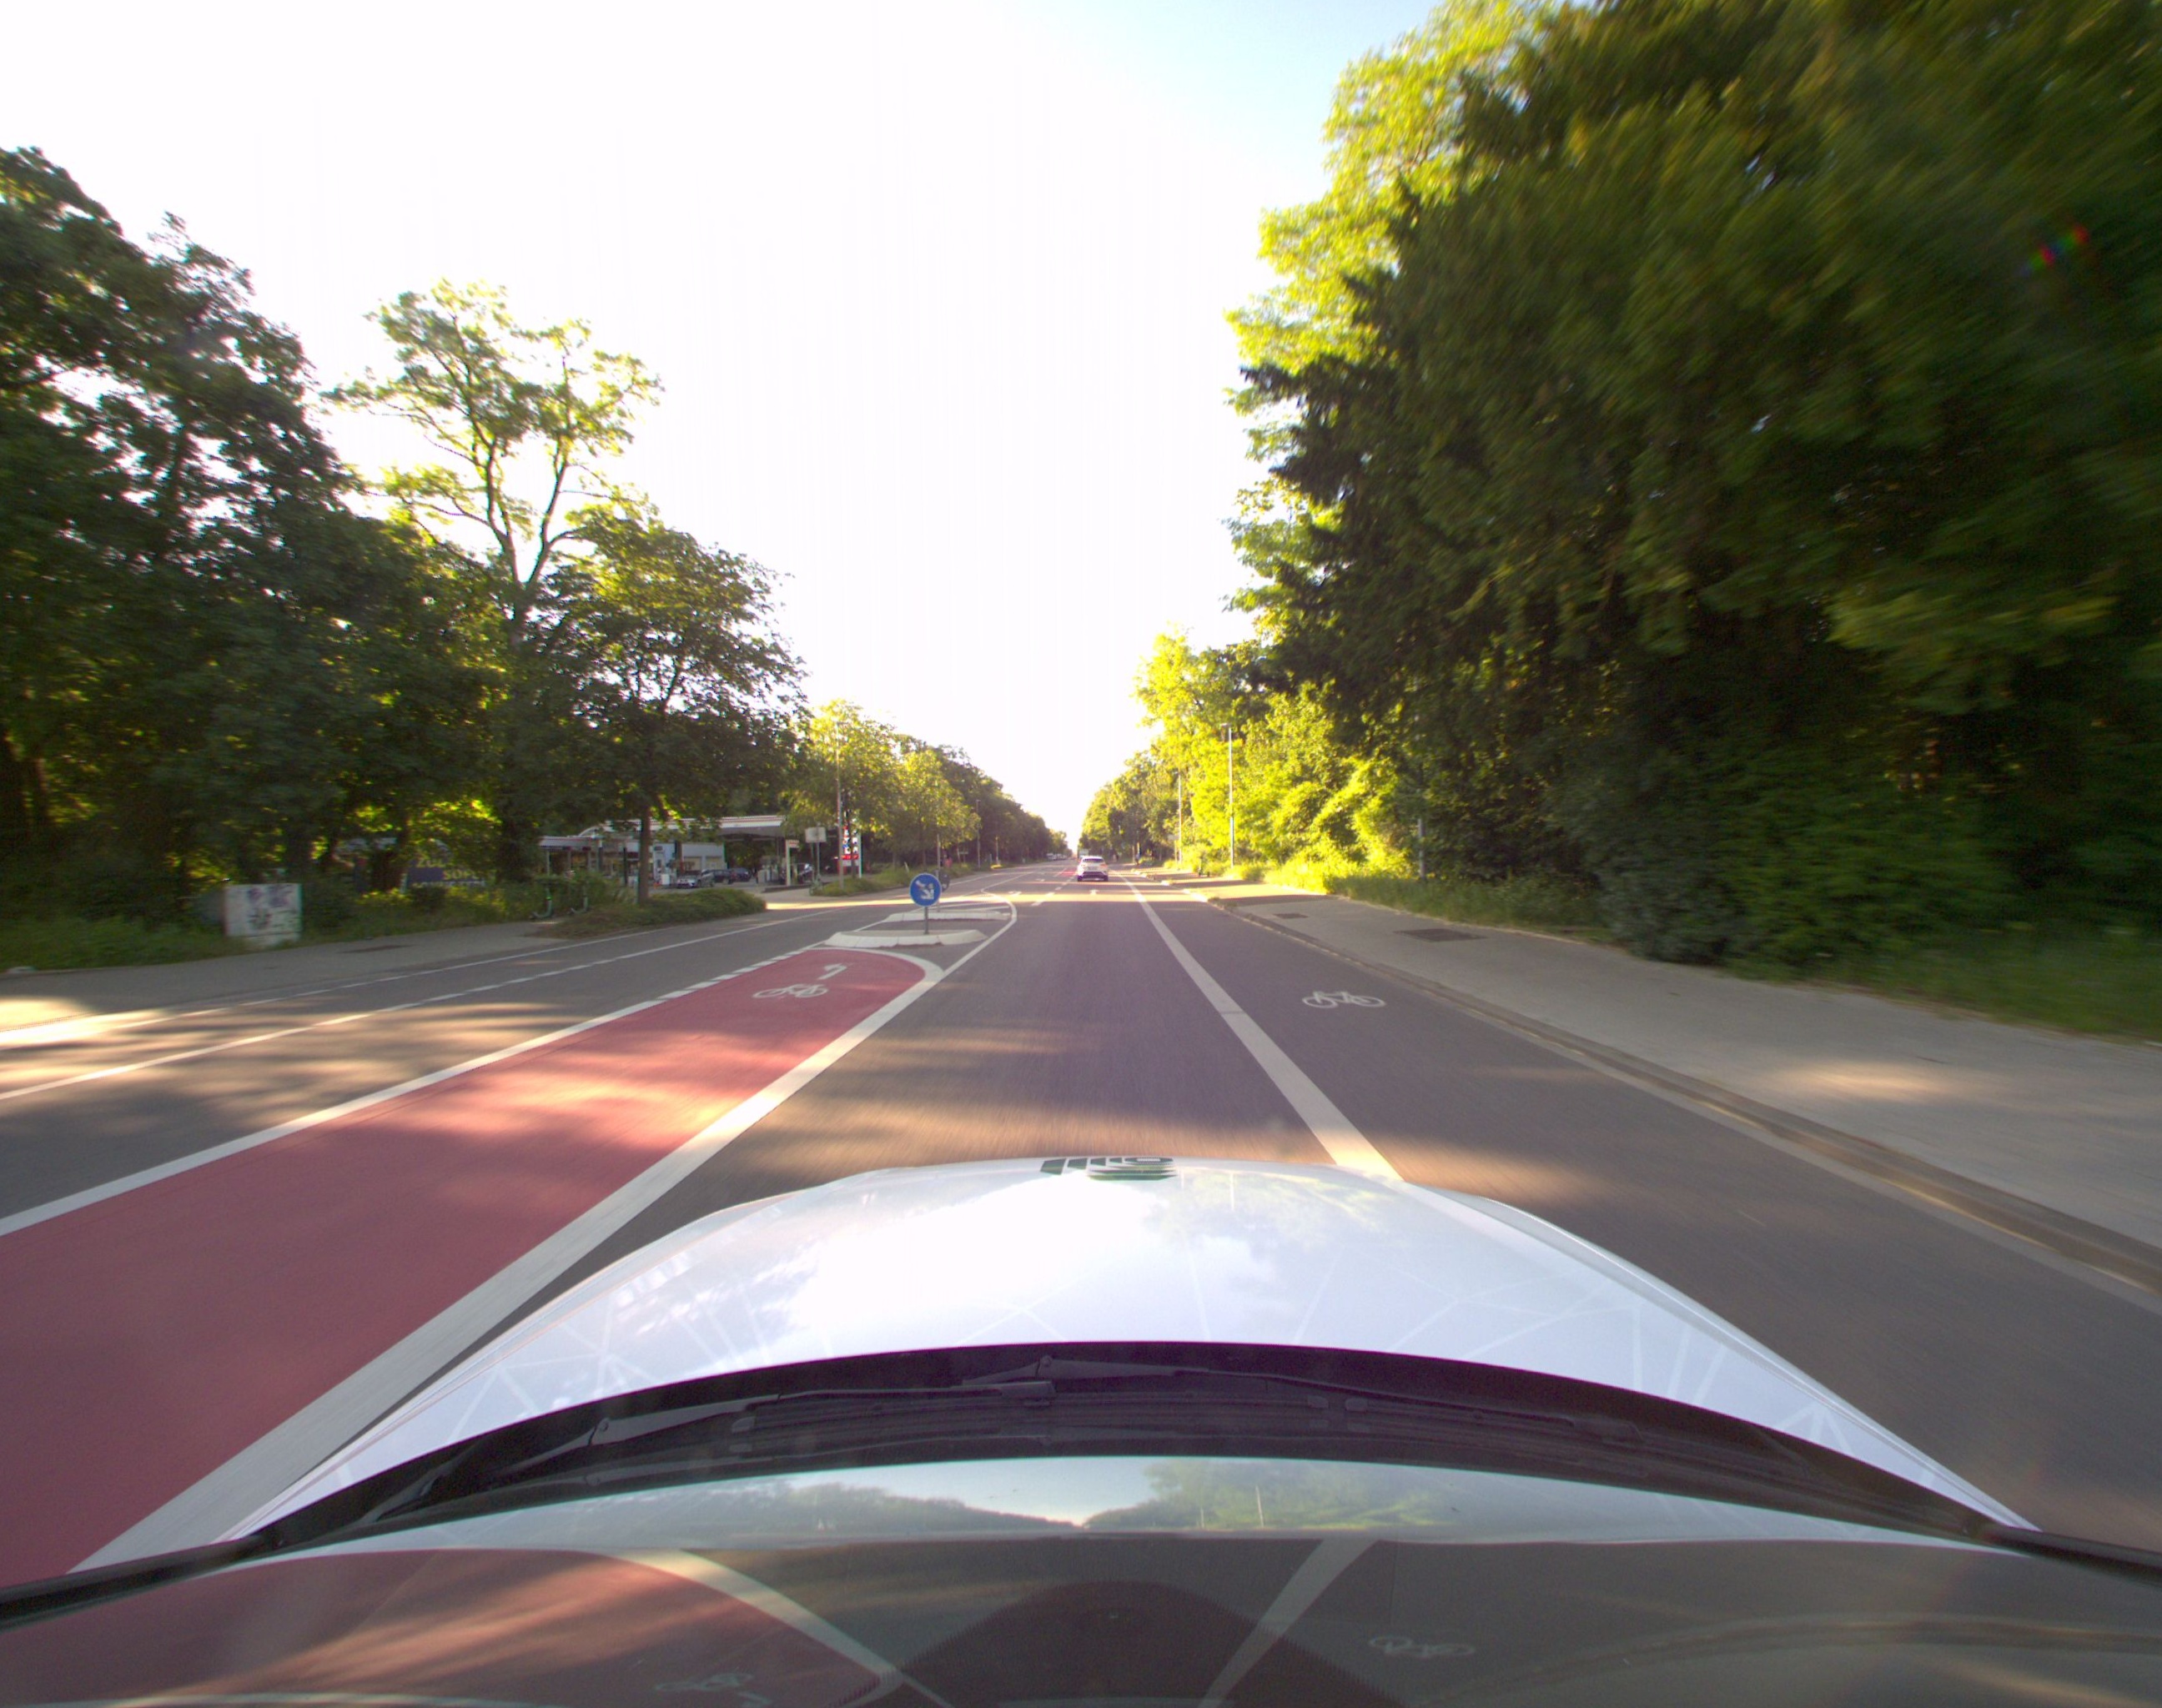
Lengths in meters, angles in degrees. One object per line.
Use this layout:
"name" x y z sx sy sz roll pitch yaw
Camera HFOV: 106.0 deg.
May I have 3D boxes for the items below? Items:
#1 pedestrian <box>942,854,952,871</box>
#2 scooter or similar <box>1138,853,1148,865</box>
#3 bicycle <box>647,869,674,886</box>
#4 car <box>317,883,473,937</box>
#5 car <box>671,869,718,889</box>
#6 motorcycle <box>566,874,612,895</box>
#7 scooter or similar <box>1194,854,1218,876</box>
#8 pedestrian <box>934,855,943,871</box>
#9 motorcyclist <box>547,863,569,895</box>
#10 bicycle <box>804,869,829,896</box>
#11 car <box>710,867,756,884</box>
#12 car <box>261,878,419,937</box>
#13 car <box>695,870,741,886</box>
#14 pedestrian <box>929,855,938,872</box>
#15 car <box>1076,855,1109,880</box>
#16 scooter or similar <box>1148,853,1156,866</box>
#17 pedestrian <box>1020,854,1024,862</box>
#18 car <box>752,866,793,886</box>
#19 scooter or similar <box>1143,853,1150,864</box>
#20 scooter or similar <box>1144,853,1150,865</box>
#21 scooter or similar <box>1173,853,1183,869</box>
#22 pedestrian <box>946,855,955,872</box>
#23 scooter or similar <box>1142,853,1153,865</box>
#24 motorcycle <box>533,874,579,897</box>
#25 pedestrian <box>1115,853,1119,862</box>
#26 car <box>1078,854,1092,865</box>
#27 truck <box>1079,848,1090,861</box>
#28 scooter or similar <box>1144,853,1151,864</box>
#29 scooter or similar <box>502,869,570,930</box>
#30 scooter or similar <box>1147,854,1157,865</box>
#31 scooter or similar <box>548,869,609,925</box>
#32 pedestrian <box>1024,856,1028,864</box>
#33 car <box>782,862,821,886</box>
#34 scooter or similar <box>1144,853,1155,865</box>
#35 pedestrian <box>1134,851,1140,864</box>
"pedestrian" -16.552 1.050 100.647 0.710 2.013 0.880 -2 0 31
"scooter or similar" 7.592 0.590 99.844 0.683 1.423 1.673 -2 0 -15
"bicycle" -37.803 2.111 73.194 1.830 1.477 0.928 -2 0 1
"car" -22.181 1.781 26.440 1.542 1.400 3.513 -5 -1 32
"car" -30.414 1.975 64.166 1.705 1.376 4.058 -2 0 -1
"motorcycle" -36.952 2.267 61.235 1.120 1.451 2.762 -2 0 27
"scooter or similar" 7.448 0.630 48.523 1.550 1.250 0.528 -2 0 -43
"pedestrian" -18.158 1.185 103.689 0.710 2.013 0.802 -3 0 33
"motorcyclist" -36.903 1.755 57.492 1.110 2.182 1.022 -2 0 44
"bicycle" -13.152 1.382 40.570 0.653 1.250 2.156 -2 0 -5
"car" -36.397 2.228 85.309 3.980 1.555 1.896 -2 0 -5
"car" -24.358 1.715 26.892 1.542 1.651 3.513 -2 0 32
"car" -34.177 2.226 76.773 3.627 1.353 1.708 -2 0 -15
"pedestrian" -18.654 1.190 103.013 0.710 2.013 0.802 -2 0 33
"car" 0.657 0.785 48.981 1.757 1.459 3.813 0 0 -3
"scooter or similar" 8.009 0.567 92.143 0.680 1.423 1.681 -2 0 0
"pedestrian" -14.604 0.961 202.944 0.861 2.013 1.269 -2 0 -1
"car" -26.291 1.847 69.500 1.705 1.498 4.576 -2 0 0
"scooter or similar" 8.410 0.604 104.211 0.680 1.423 1.681 -2 0 0
"scooter or similar" 8.355 0.596 102.671 0.678 1.423 1.248 -2 0 8
"scooter or similar" 7.909 0.584 66.377 0.531 1.250 1.541 -2 0 0
"pedestrian" -16.122 1.167 100.678 0.710 2.013 0.752 -3 0 31
"scooter or similar" 7.988 0.572 98.166 0.683 1.423 1.673 -2 0 -15
"motorcycle" -36.968 2.201 57.398 1.120 1.451 2.521 -2 0 44
"pedestrian" 7.040 0.671 161.082 0.696 1.653 0.876 -2 0 -1
"car" 0.551 0.862 120.595 1.987 1.519 4.000 -2 0 1
"truck" 0.998 0.211 233.978 2.791 3.570 8.030 -1 0 -1
"scooter or similar" 8.242 0.561 101.158 0.680 1.423 1.681 -2 0 0
"scooter or similar" -16.566 1.361 24.808 0.824 1.717 1.741 -2 0 1
"scooter or similar" 8.197 0.622 93.998 0.467 1.306 1.470 -2 0 -22
"scooter or similar" -16.486 1.371 26.751 0.824 1.717 1.741 -2 0 1
"pedestrian" -13.656 1.485 202.987 0.829 2.013 1.268 -2 0 -2
"car" -22.210 1.561 64.886 1.707 1.691 4.447 -2 0 -4
"scooter or similar" 8.096 0.564 96.095 0.683 1.423 1.674 -2 0 -13
"pedestrian" 7.182 0.441 104.964 0.751 1.563 0.803 -2 0 5
